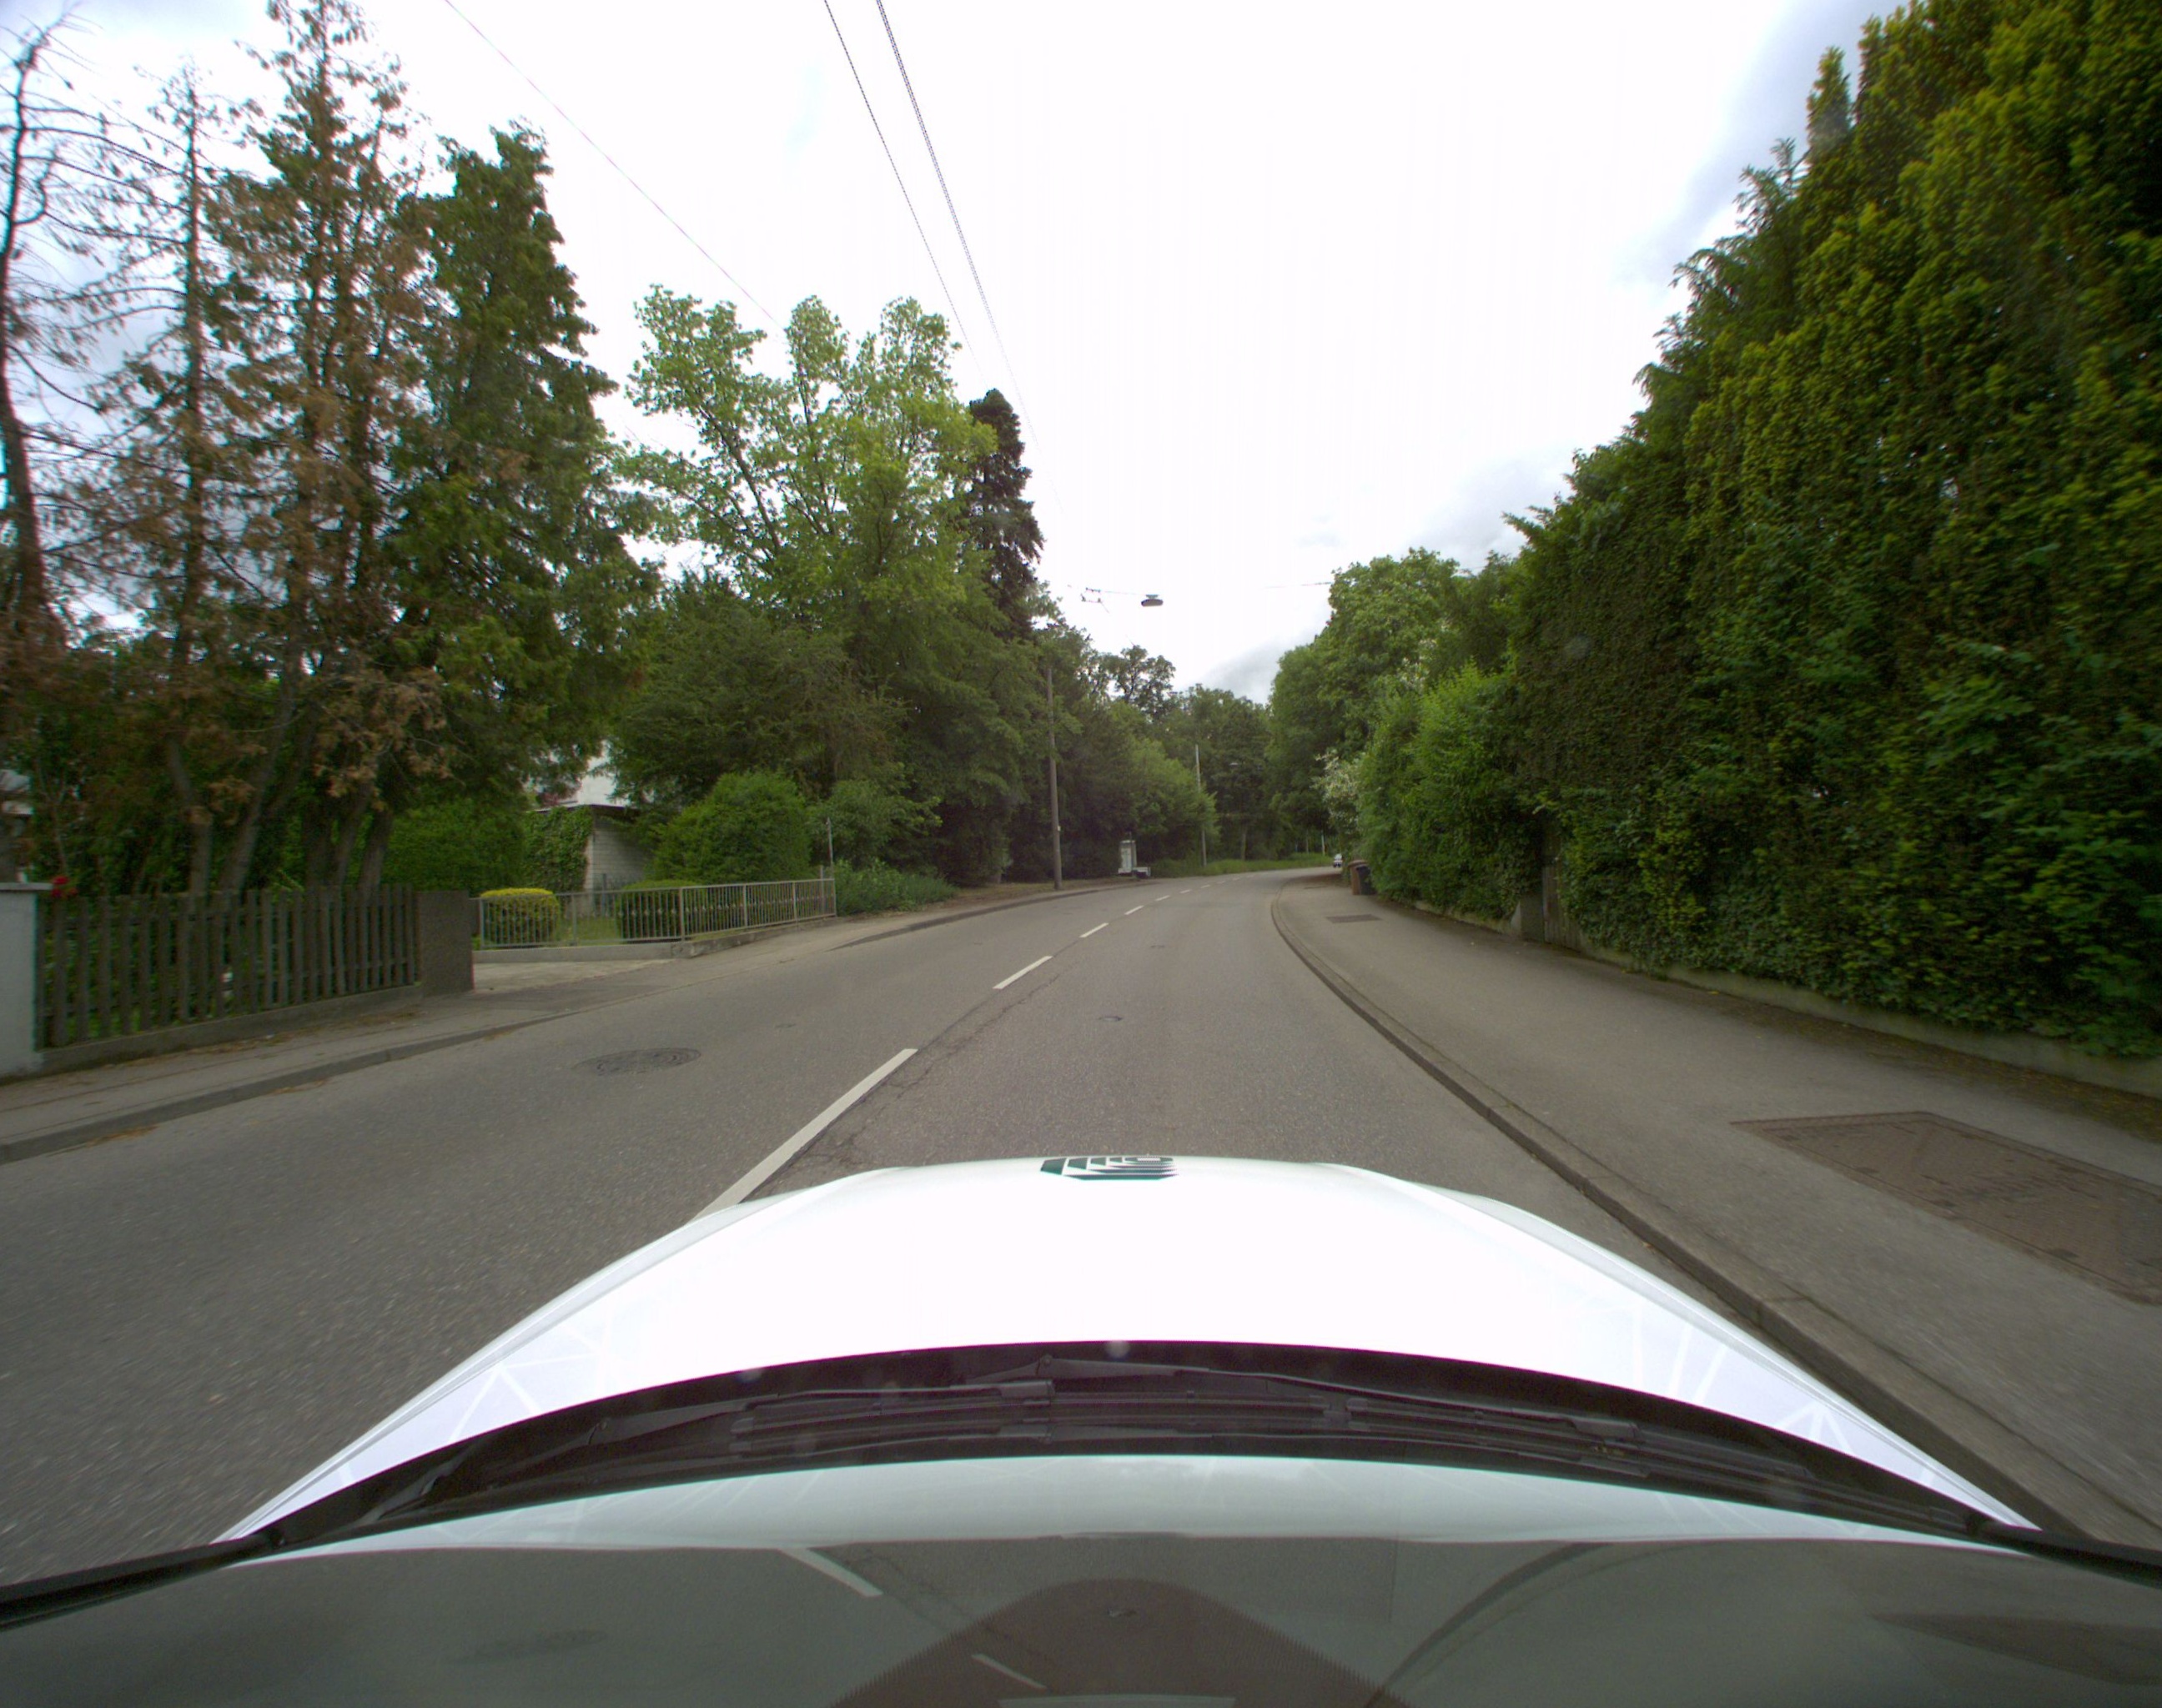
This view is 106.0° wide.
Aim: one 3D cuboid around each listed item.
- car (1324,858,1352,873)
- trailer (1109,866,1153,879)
[{"bbox_3d":[27.267,1.199,86.342,1.974,1.486,4.025,-3,-2,30],"label":"car"},{"bbox_3d":[3.567,1.312,57.528,2.939,0.829,1.479,-3,-1,7],"label":"trailer"}]
